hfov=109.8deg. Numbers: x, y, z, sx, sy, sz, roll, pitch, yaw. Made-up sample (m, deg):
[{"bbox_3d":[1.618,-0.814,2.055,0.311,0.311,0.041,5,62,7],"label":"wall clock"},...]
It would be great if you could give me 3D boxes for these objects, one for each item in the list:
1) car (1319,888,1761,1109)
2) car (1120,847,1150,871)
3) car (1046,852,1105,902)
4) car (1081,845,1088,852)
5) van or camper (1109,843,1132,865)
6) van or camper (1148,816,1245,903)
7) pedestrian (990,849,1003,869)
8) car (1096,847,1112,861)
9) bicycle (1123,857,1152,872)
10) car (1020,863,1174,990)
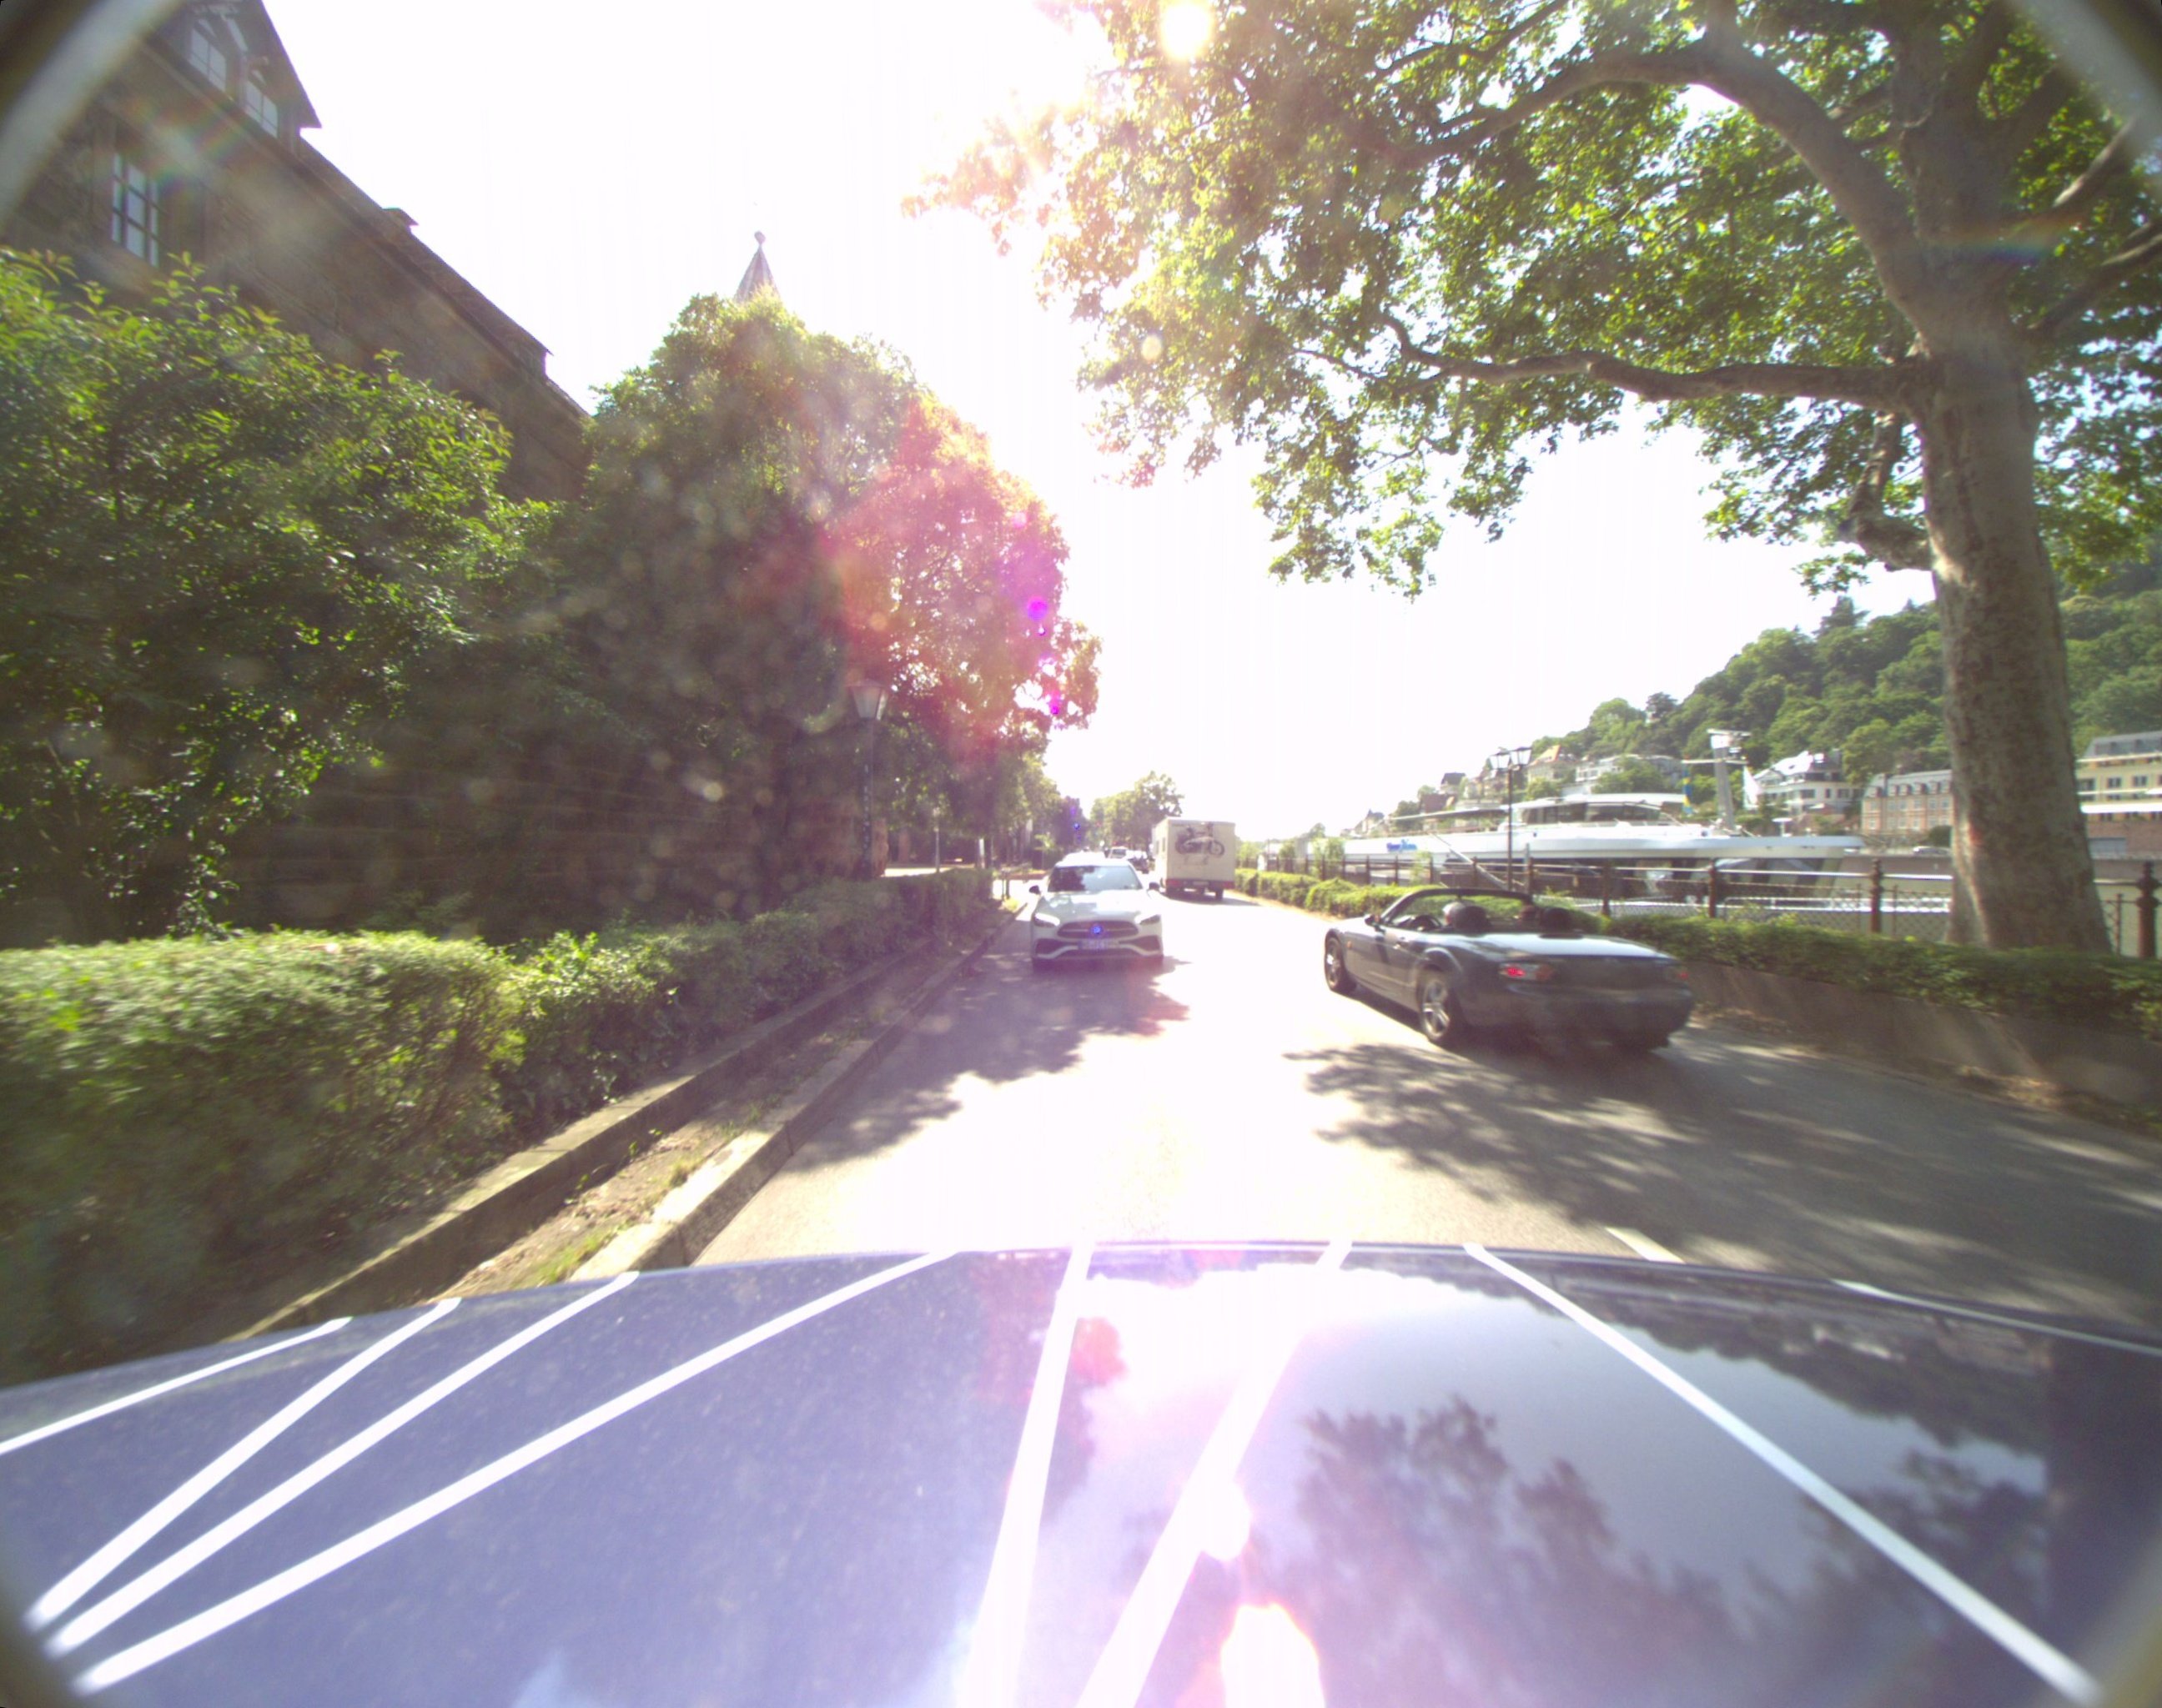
[{"bbox_3d":[3.544,1.024,6.705,1.702,1.204,3.485,2,1,-1],"label":"car"},{"bbox_3d":[3.807,0.314,54.098,1.826,1.603,3.959,1,1,0],"label":"car"},{"bbox_3d":[-0.170,0.719,26.230,1.854,1.543,3.848,1,1,0],"label":"car"},{"bbox_3d":[1.096,-1.665,223.211,1.923,1.976,4.000,1,1,1],"label":"car"},{"bbox_3d":[3.687,-0.052,71.639,1.923,1.976,4.000,1,1,1],"label":"van or camper"},{"bbox_3d":[3.855,0.131,26.703,2.328,2.647,6.263,1,1,0],"label":"van or camper"},{"bbox_3d":[-5.266,0.323,47.267,0.632,1.186,0.747,-2,1,2],"label":"pedestrian"},{"bbox_3d":[2.725,0.004,91.947,1.826,1.604,3.959,1,1,0],"label":"car"},{"bbox_3d":[3.820,0.703,51.666,1.873,0.921,0.955,1,1,1],"label":"bicycle"},{"bbox_3d":[0.188,0.904,11.380,1.829,1.418,4.358,-1,0,0],"label":"car"}]
